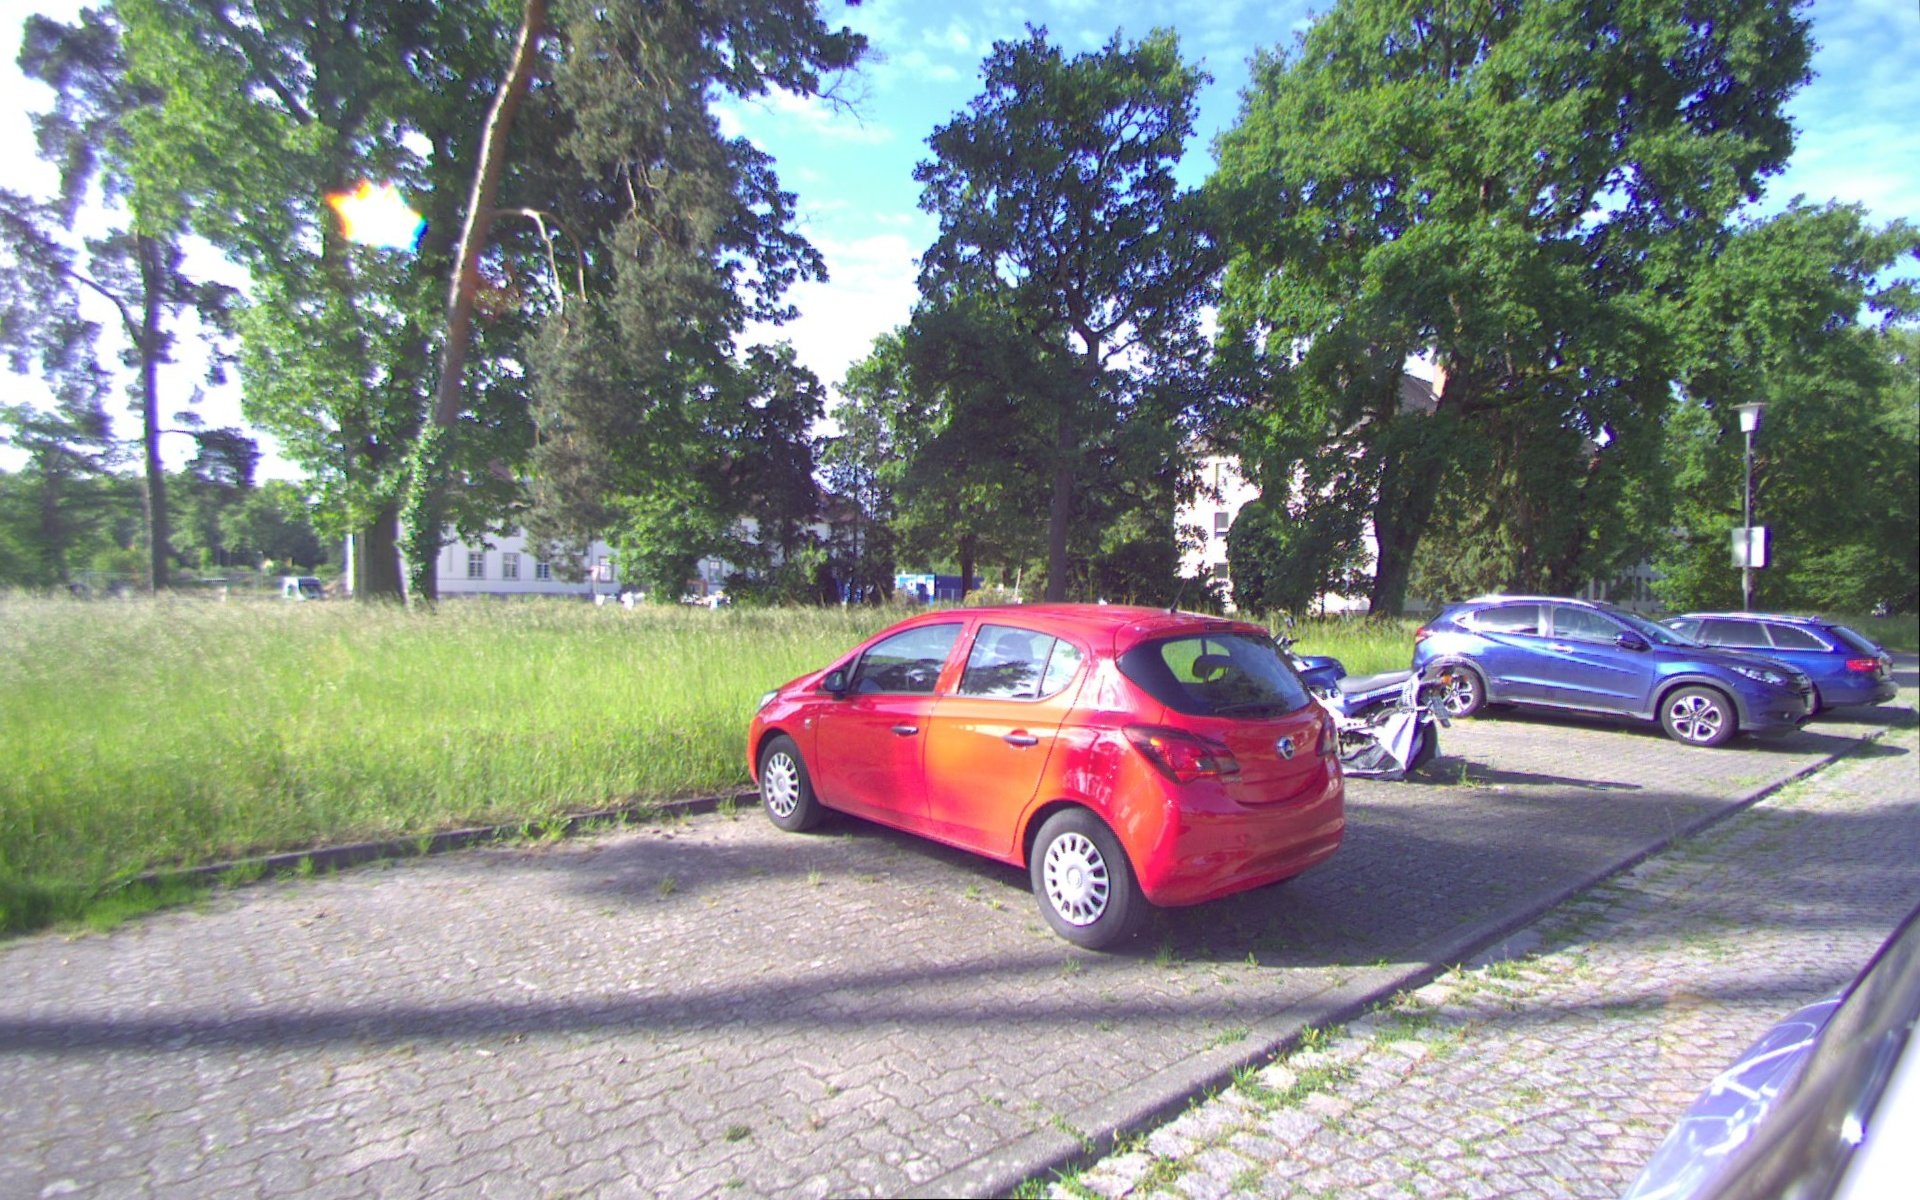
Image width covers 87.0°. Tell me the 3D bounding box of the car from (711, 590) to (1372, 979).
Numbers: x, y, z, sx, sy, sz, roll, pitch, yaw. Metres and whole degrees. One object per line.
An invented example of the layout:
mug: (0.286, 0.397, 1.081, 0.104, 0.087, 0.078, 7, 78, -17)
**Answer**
car: (0.148, 0.703, 5.962, 1.513, 1.514, 3.994, 0, 0, -41)

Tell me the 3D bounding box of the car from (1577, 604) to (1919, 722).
car: (11.672, 0.824, 15.171, 1.716, 1.485, 3.808, 0, 0, -39)

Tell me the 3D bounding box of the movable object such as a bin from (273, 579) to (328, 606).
movable object such as a bin: (-52.103, -0.584, 79.853, 5.712, 2.039, 2.093, 1, 1, 40)

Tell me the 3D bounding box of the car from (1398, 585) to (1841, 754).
car: (7.886, 0.681, 12.464, 1.622, 1.618, 4.271, 0, 2, -41)

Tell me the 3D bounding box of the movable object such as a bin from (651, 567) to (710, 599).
movable object such as a bin: (-26.383, -1.561, 95.520, 4.975, 2.937, 2.181, 0, 0, -34)

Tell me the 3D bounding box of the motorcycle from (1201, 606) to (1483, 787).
motorcycle: (3.329, 0.758, 9.049, 0.863, 1.370, 2.235, 1, 0, -38)
